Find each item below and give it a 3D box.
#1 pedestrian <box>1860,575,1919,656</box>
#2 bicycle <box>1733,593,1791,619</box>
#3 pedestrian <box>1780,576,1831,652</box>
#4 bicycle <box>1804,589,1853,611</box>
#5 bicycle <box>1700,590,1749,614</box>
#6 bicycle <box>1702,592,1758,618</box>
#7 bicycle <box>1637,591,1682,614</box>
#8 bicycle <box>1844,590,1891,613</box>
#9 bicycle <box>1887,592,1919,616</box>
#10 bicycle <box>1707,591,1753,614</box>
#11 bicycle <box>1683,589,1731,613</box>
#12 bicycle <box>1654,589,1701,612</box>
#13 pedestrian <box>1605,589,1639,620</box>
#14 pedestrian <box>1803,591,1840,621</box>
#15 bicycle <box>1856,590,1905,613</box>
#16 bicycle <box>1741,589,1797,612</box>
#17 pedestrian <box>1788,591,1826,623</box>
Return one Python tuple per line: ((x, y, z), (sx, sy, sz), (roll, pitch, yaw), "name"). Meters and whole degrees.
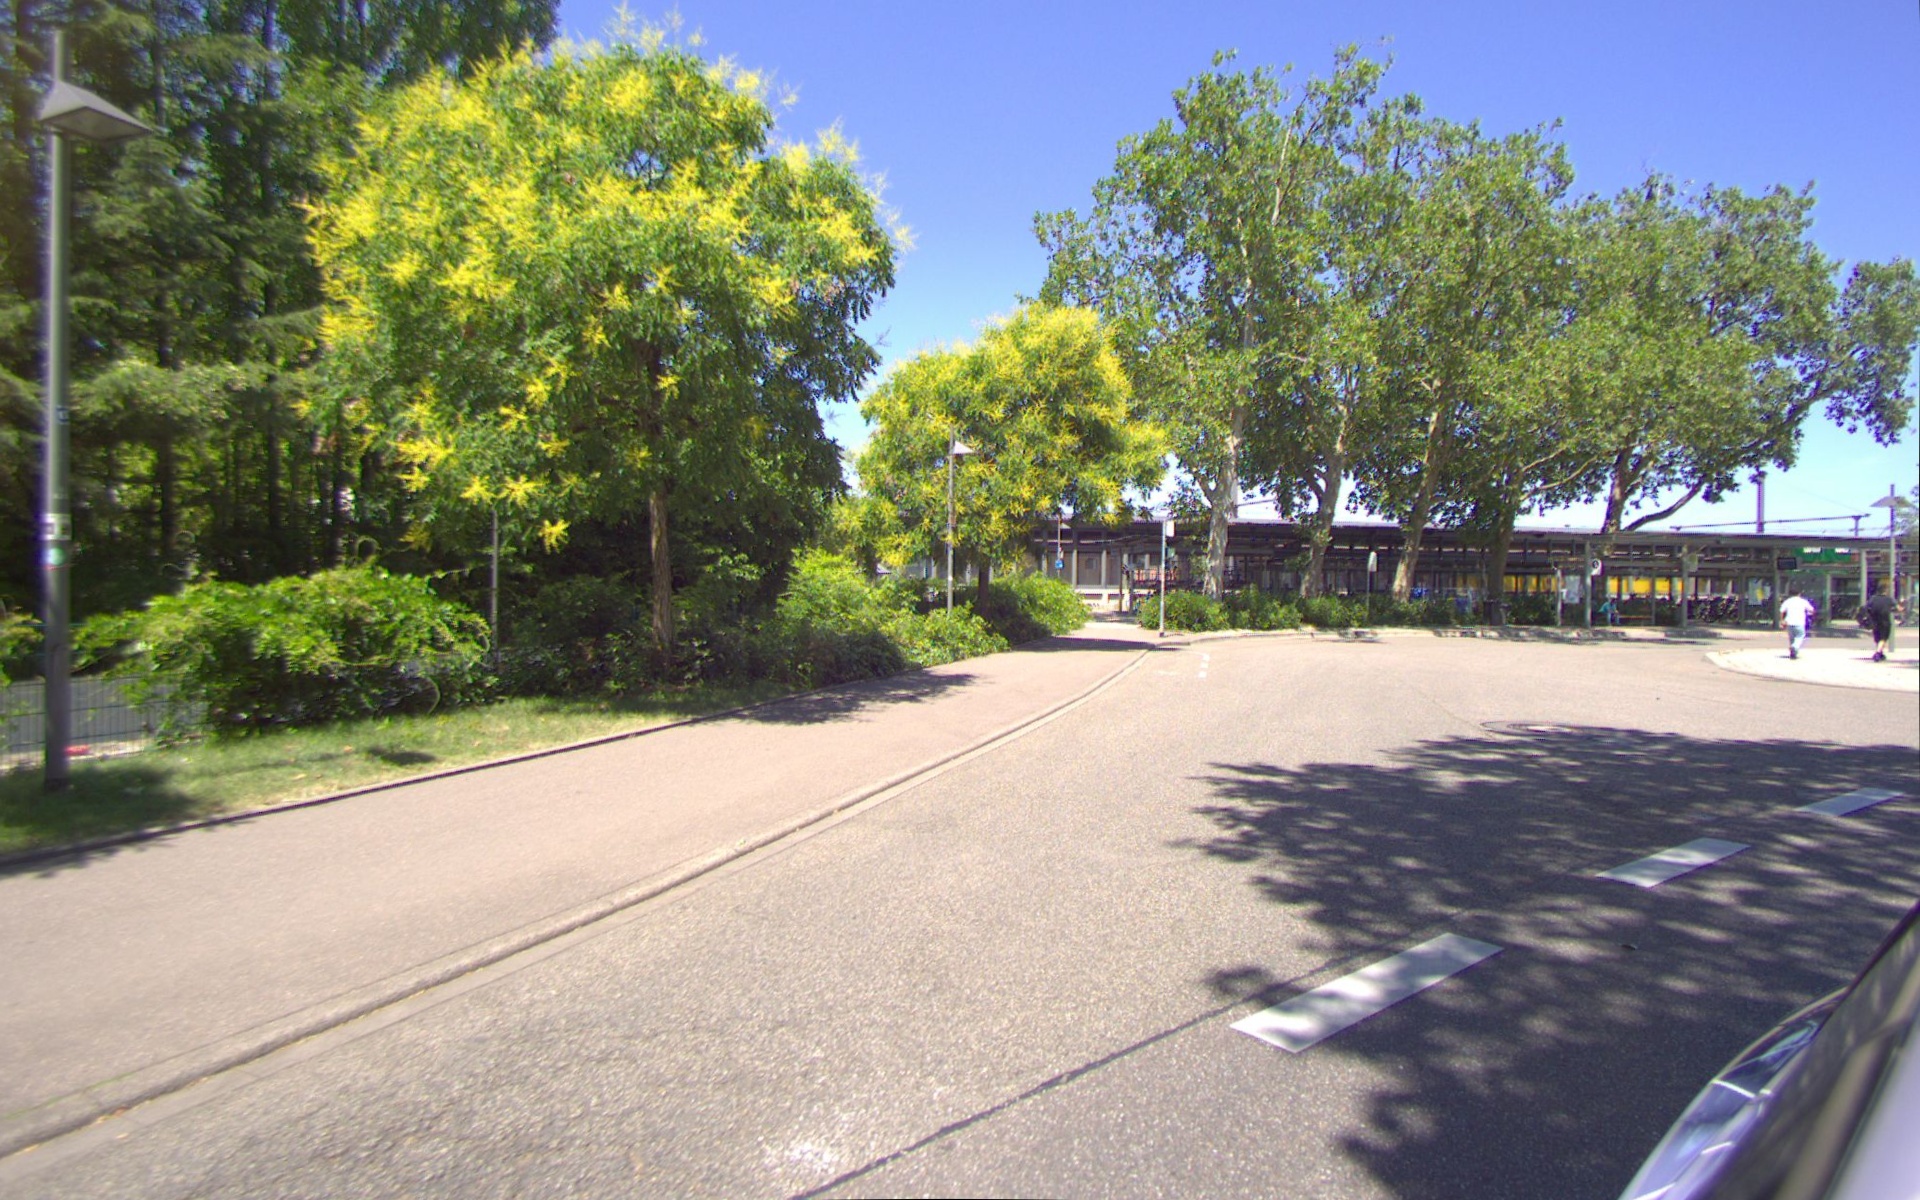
((21.283, 0.343, 23.070), (0.898, 1.807, 0.694), (0, 0, 2), "pedestrian")
((37.874, 0.282, 47.835), (0.656, 1.086, 2.175), (-3, 3, -14), "bicycle")
((19.998, 0.321, 23.962), (0.911, 1.758, 0.666), (0, 0, 40), "pedestrian")
((47.565, -0.020, 55.446), (0.657, 1.086, 2.174), (-3, 3, -7), "bicycle")
((38.691, 0.109, 51.230), (2.126, 1.086, 0.672), (-3, 3, -8), "bicycle")
((36.155, 0.200, 47.545), (0.656, 1.086, 2.175), (-3, 3, -14), "bicycle")
((38.074, 0.135, 55.104), (2.126, 1.086, 0.672), (-3, 3, -8), "bicycle")
((48.392, 0.075, 53.959), (2.126, 1.086, 0.672), (-3, 3, -8), "bicycle")
((47.367, 0.211, 50.148), (0.657, 1.086, 2.174), (-3, 3, -7), "bicycle")
((42.218, 0.119, 55.549), (0.657, 1.086, 2.174), (-3, 3, -7), "bicycle")
((38.558, 0.045, 52.246), (2.126, 1.086, 0.672), (-3, 3, -8), "bicycle")
((38.226, 0.041, 53.910), (2.126, 1.086, 0.672), (-3, 3, -8), "bicycle")
((28.336, 0.181, 43.332), (0.850, 1.291, 0.833), (0, 0, -15), "pedestrian")
((38.744, 0.271, 45.511), (0.814, 1.321, 0.965), (0, 0, -10), "pedestrian")
((48.419, 0.062, 53.238), (2.126, 1.086, 0.672), (-3, 3, -8), "bicycle")
((42.528, 0.037, 53.224), (0.846, 1.086, 2.173), (-4, 3, -29), "bicycle")
((37.891, 0.291, 45.285), (0.814, 1.403, 0.965), (0, 0, -10), "pedestrian")
